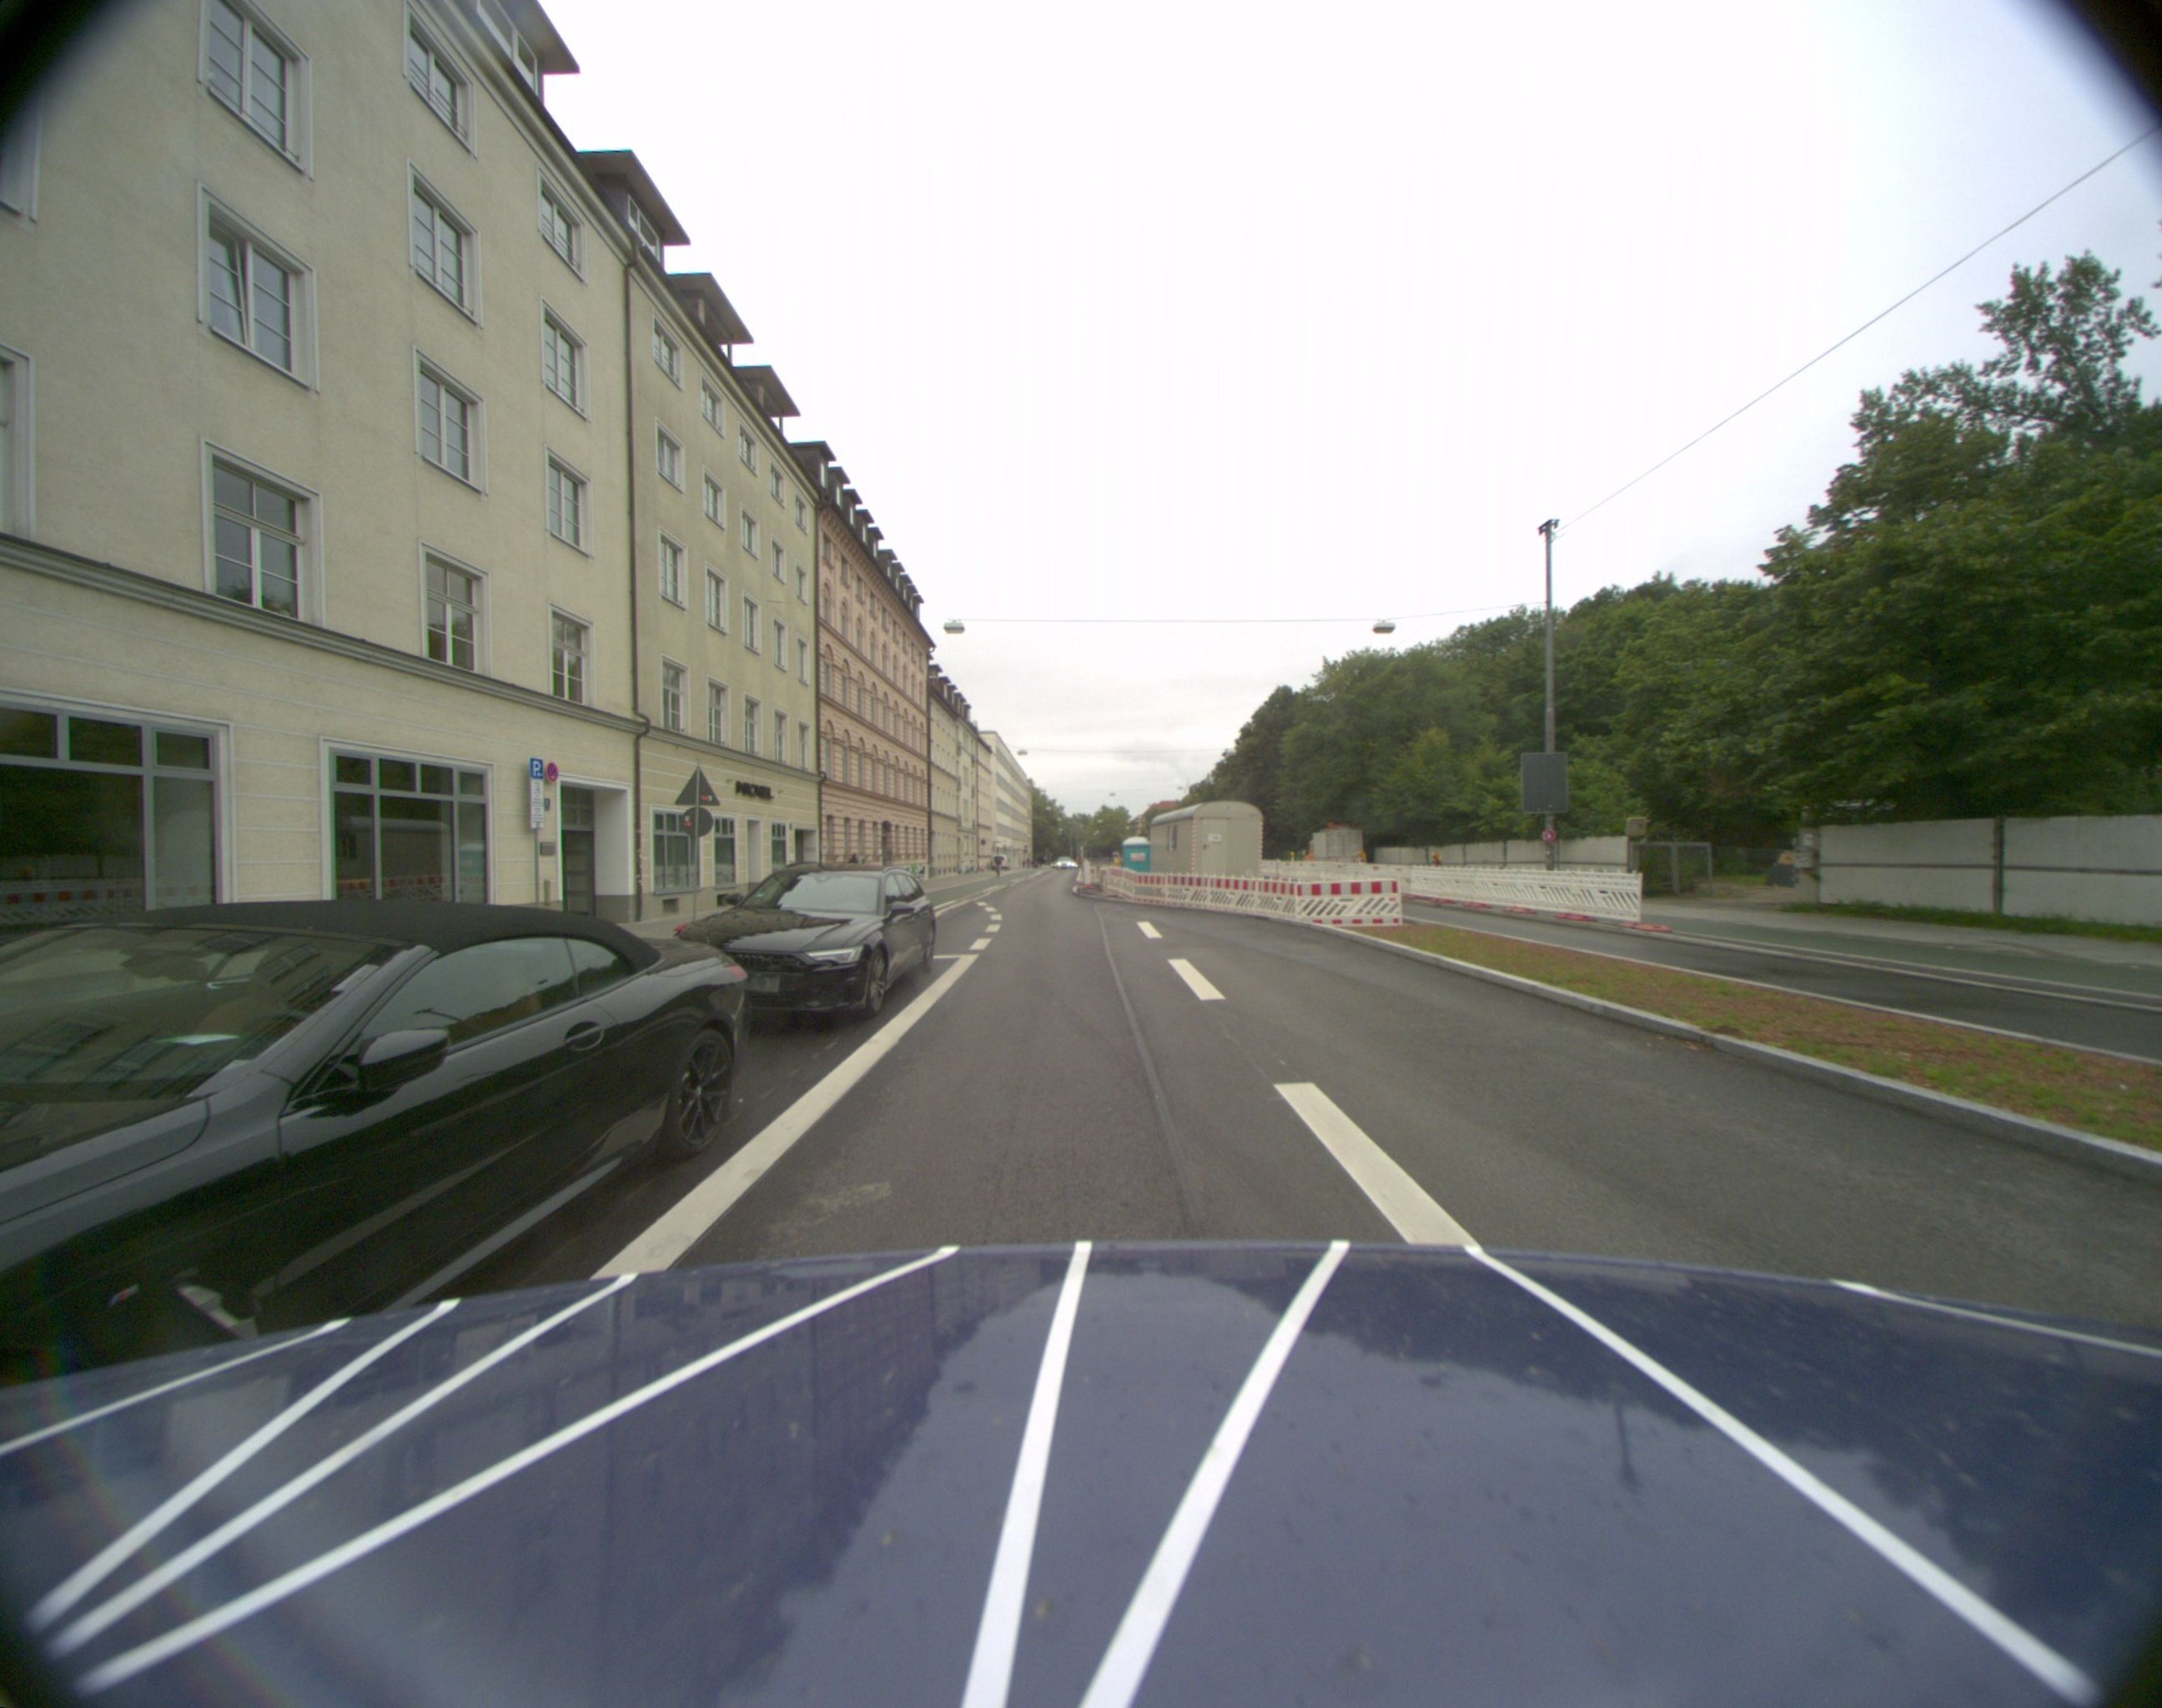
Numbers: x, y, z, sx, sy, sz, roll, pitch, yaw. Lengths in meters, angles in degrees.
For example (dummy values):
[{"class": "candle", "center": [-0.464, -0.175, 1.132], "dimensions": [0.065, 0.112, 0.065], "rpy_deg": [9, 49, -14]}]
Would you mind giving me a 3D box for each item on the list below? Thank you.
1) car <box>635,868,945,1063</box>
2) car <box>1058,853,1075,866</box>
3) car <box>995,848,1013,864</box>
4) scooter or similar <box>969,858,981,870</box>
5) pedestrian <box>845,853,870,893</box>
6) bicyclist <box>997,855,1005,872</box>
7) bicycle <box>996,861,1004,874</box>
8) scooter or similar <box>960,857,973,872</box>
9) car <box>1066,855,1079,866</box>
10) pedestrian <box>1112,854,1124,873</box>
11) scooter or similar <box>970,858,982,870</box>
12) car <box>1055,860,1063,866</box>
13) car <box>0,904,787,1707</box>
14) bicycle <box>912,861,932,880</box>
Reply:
[{"class": "car", "center": [-2.843, 0.980, 8.611], "dimensions": [1.813, 1.472, 4.461], "rpy_deg": [3, 0, -1]}, {"class": "car", "center": [-1.653, 0.640, 88.643], "dimensions": [1.758, 1.461, 4.000], "rpy_deg": [-2, 0, 1]}, {"class": "car", "center": [-9.064, 0.247, 89.746], "dimensions": [1.766, 1.821, 3.999], "rpy_deg": [-1, 0, 0]}, {"class": "scooter or similar", "center": [-10.217, 0.962, 73.378], "dimensions": [1.079, 1.185, 0.436], "rpy_deg": [-1, 1, -40]}, {"class": "pedestrian", "center": [-9.875, 0.849, 33.578], "dimensions": [0.795, 1.735, 0.833], "rpy_deg": [-1, 1, 1]}, {"class": "bicyclist", "center": [-6.659, 0.781, 63.161], "dimensions": [0.632, 1.459, 0.652], "rpy_deg": [-1, 1, -6]}, {"class": "bicycle", "center": [-6.723, 1.084, 63.140], "dimensions": [0.632, 1.031, 2.016], "rpy_deg": [-1, 0, -6]}, {"class": "scooter or similar", "center": [-10.155, 0.925, 67.229], "dimensions": [0.552, 1.238, 1.079], "rpy_deg": [0, 1, 35]}, {"class": "car", "center": [-1.313, 0.993, 116.974], "dimensions": [1.759, 1.461, 3.998], "rpy_deg": [-2, 0, -4]}, {"class": "pedestrian", "center": [3.621, 0.906, 74.308], "dimensions": [0.861, 1.826, 0.873], "rpy_deg": [-1, 1, -19]}, {"class": "scooter or similar", "center": [-9.952, 0.948, 72.043], "dimensions": [1.078, 1.185, 0.453], "rpy_deg": [-1, 1, -29]}, {"class": "car", "center": [-6.255, 2.660, 217.030], "dimensions": [1.999, 1.560, 3.999], "rpy_deg": [-1, 0, -1]}, {"class": "car", "center": [-2.848, 1.049, 2.424], "dimensions": [1.830, 1.399, 4.720], "rpy_deg": [-2, 0, 2]}, {"class": "bicycle", "center": [-10.179, 1.025, 48.667], "dimensions": [0.556, 1.170, 1.727], "rpy_deg": [0, 0, 15]}]
